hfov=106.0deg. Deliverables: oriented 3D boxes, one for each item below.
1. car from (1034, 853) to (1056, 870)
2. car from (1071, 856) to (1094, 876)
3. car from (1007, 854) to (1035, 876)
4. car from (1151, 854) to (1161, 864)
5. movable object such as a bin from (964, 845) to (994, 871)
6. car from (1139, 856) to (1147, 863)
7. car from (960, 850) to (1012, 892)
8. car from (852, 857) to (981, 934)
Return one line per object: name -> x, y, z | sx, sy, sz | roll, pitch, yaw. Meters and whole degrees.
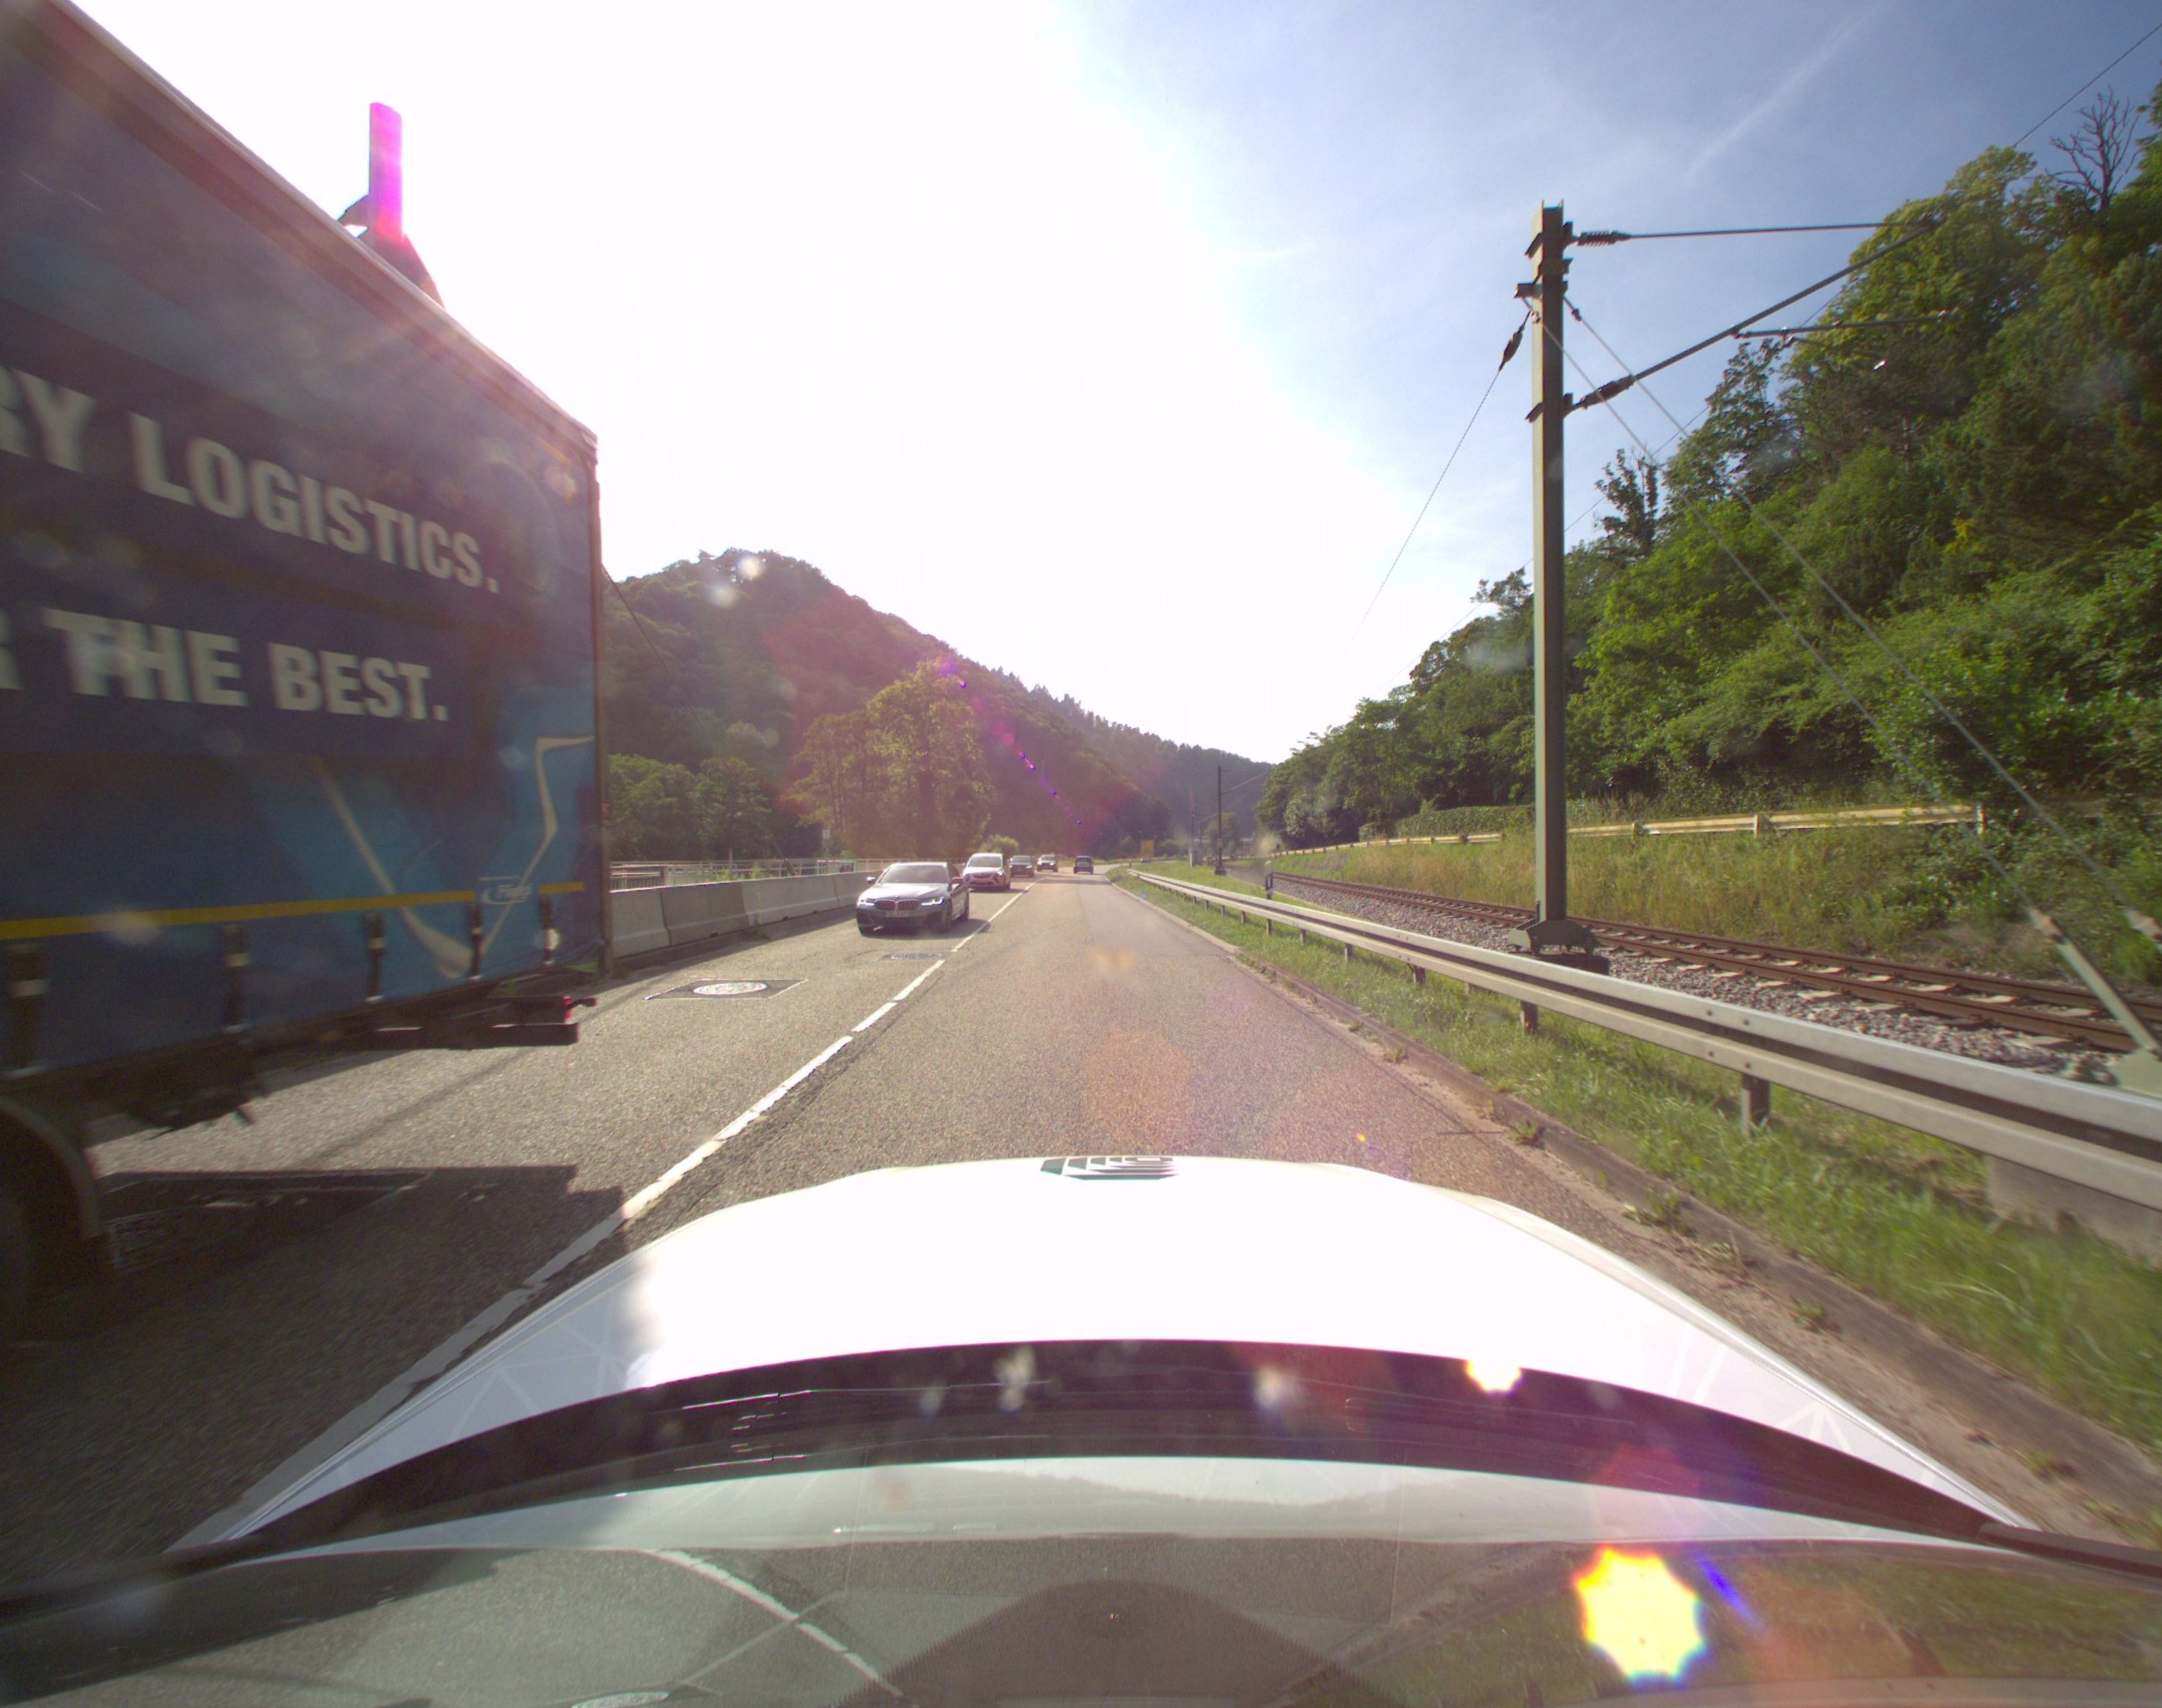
car -> -3.517, 0.713, 81.328 | 1.987, 1.629, 4.506 | 1, 0, 0
car -> 0.132, 1.123, 76.927 | 1.988, 1.723, 3.987 | -2, -1, -1
car -> -4.363, 0.788, 59.373 | 1.793, 1.556, 4.329 | 1, 0, -1
car -> 16.657, 1.043, 180.321 | 1.983, 2.013, 4.008 | -2, 0, 7
movable object such as a bin -> -15.931, 0.625, 127.884 | 2.687, 3.947, 9.999 | -2, -1, 4
car -> 15.317, 1.389, 200.455 | 1.841, 1.784, 4.692 | 2, 0, 6
car -> -4.132, 0.706, 36.168 | 1.768, 1.670, 4.645 | -1, 0, -1
car -> -3.522, 0.829, 18.416 | 1.830, 1.496, 4.936 | 0, 0, 1
